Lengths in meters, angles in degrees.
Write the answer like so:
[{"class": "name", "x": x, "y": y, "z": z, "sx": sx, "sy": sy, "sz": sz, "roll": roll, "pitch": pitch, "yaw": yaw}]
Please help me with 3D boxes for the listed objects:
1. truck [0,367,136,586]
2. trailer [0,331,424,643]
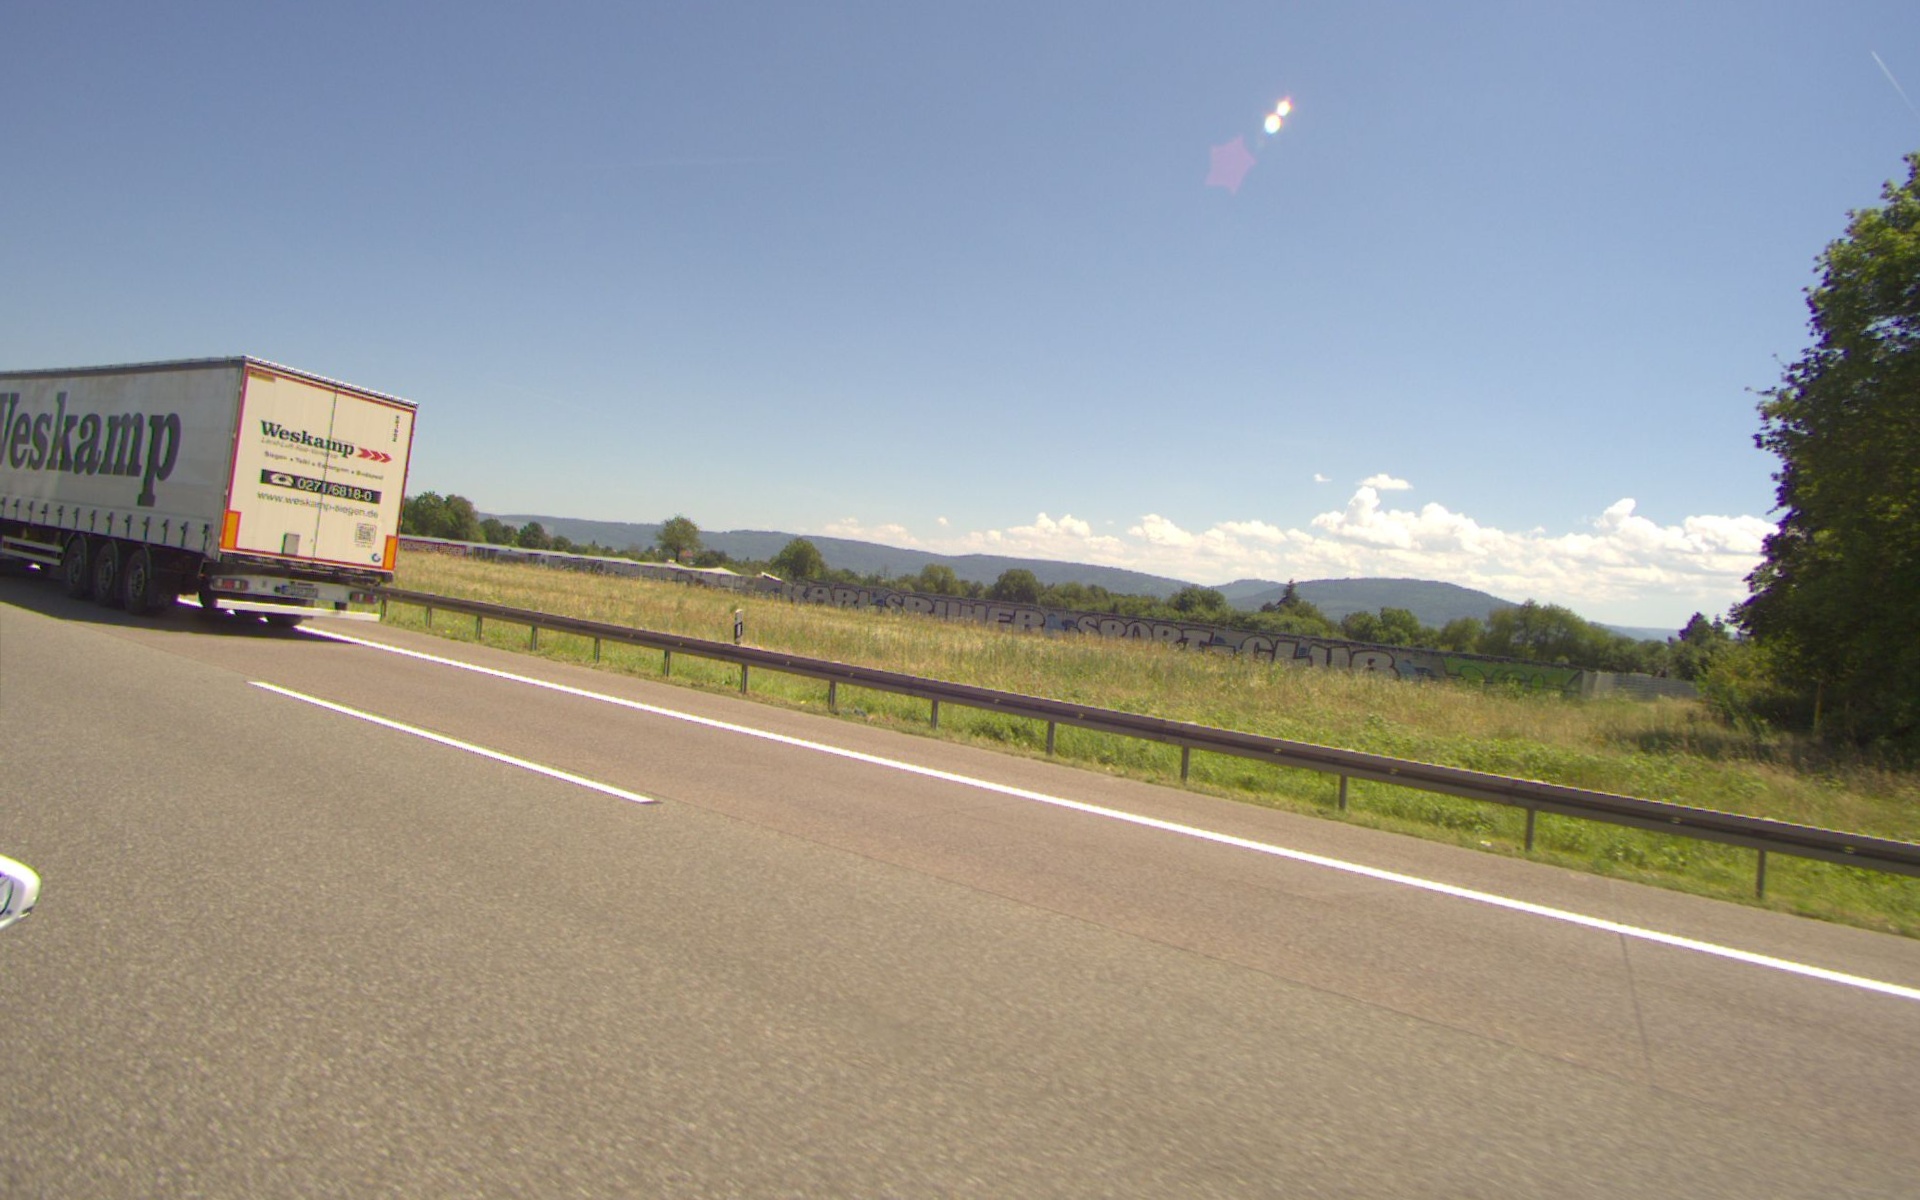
[{"class": "truck", "x": -21.649, "y": -2.818, "z": 22.971, "sx": 5.006, "sy": 4.306, "sz": 2.604, "roll": 7, "pitch": -1, "yaw": 33}, {"class": "trailer", "x": -15.346, "y": -2.130, "z": 18.935, "sx": 13.417, "sy": 4.301, "sz": 2.600, "roll": 6, "pitch": -1, "yaw": 32}]
